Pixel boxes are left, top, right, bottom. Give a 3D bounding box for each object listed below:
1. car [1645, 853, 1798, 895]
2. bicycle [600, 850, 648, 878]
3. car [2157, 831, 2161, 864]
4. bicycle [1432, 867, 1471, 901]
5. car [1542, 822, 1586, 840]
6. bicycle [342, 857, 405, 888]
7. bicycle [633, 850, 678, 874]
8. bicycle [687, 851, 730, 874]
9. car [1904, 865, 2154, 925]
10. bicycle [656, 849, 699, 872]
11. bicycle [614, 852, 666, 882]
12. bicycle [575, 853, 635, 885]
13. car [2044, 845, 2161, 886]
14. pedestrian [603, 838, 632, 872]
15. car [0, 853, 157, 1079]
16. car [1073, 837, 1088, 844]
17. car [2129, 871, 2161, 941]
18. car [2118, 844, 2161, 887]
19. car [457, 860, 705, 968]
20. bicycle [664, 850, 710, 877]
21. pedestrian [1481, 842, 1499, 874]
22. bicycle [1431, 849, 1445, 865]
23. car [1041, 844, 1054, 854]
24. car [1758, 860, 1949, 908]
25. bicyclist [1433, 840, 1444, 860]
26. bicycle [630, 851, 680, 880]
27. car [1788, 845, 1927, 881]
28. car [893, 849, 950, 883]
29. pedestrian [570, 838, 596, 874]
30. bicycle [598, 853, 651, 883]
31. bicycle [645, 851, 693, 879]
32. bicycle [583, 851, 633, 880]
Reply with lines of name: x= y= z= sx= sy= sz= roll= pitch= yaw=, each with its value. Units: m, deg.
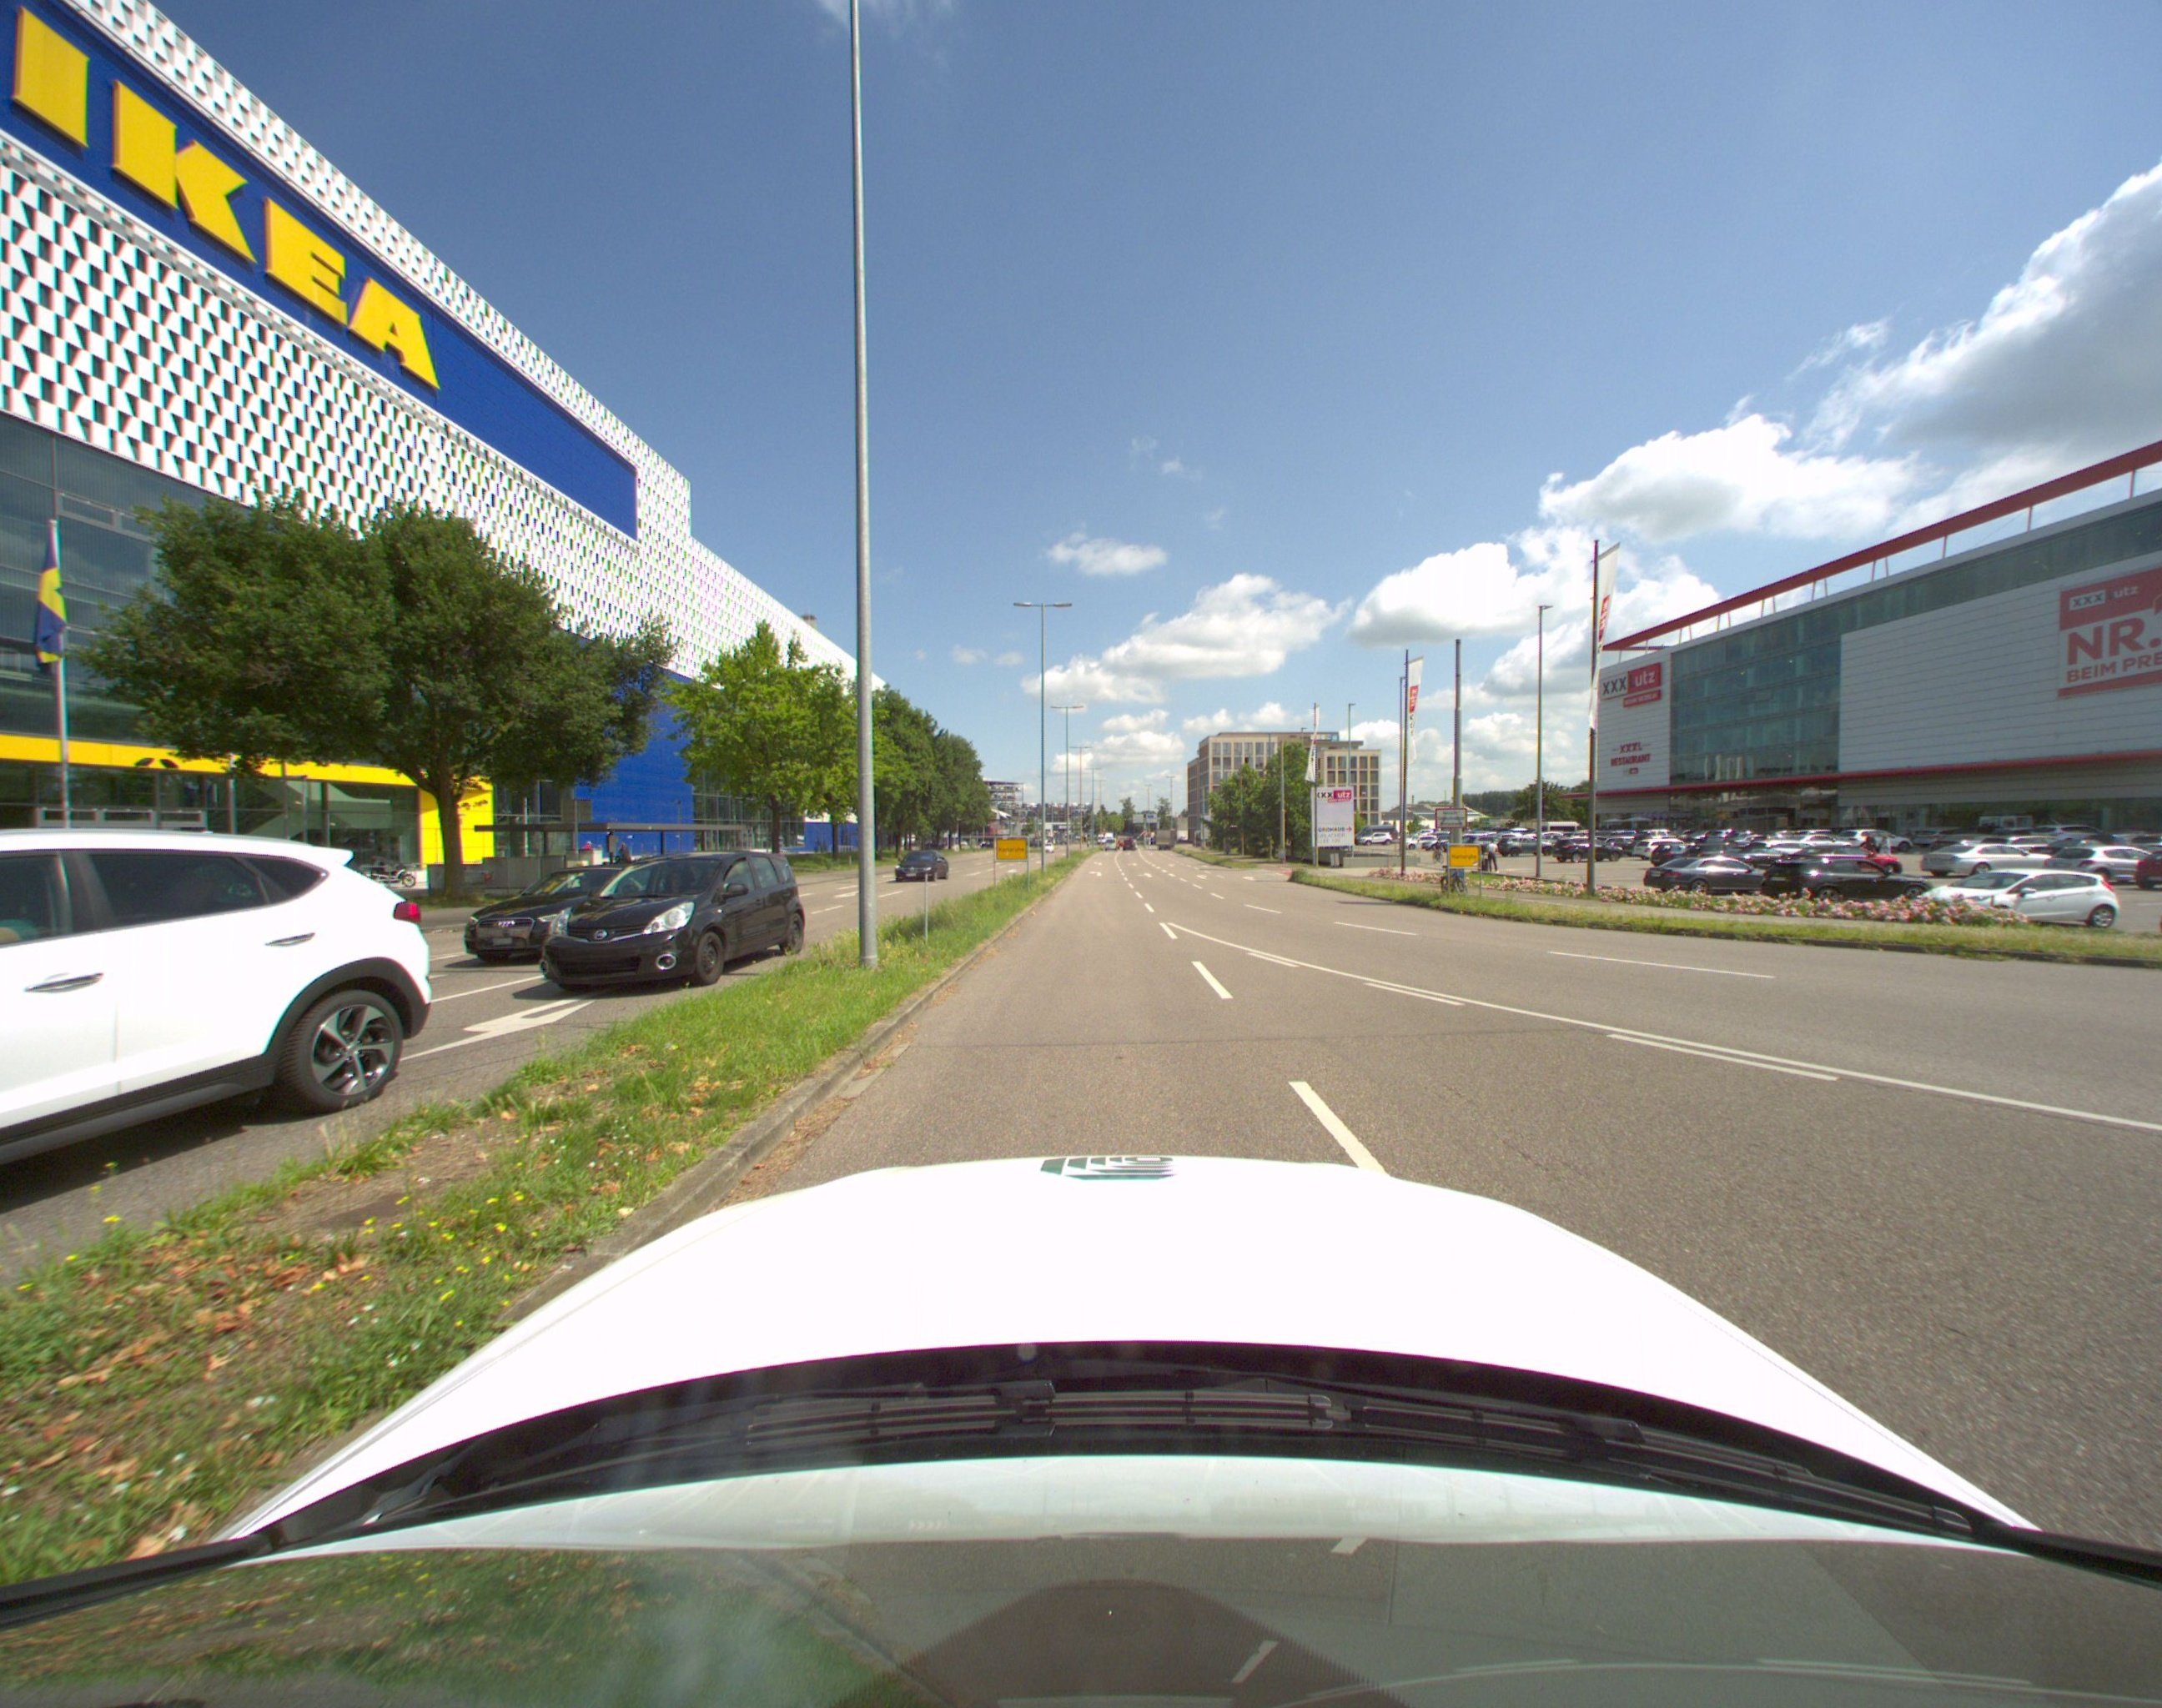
car: x=24.467 y=0.756 z=31.223 sx=4.340 sy=1.476 sz=1.858 roll=-1 pitch=0 yaw=3
bicycle: x=-21.442 y=0.485 z=38.235 sx=1.918 sy=1.272 sz=0.630 roll=0 pitch=1 yaw=1
car: x=50.442 y=-0.256 z=35.775 sx=3.971 sy=1.451 sz=1.670 roll=0 pitch=2 yaw=2
bicycle: x=11.207 y=0.885 z=24.663 sx=0.515 sy=0.952 sz=1.544 roll=0 pitch=0 yaw=1
car: x=55.954 y=-2.661 z=94.354 sx=3.972 sy=1.951 sz=2.001 roll=0 pitch=2 yaw=1
bicycle: x=-27.580 y=0.710 z=31.752 sx=1.929 sy=1.209 sz=0.528 roll=0 pitch=0 yaw=-3
bicycle: x=-21.402 y=0.388 z=41.016 sx=1.918 sy=1.179 sz=0.630 roll=0 pitch=2 yaw=1
bicycle: x=-19.231 y=0.436 z=42.098 sx=1.918 sy=1.183 sz=0.630 roll=0 pitch=2 yaw=1
car: x=24.523 y=1.024 z=21.188 sx=4.342 sy=1.439 sz=1.797 roll=0 pitch=1 yaw=2
bicycle: x=-21.294 y=0.338 z=42.970 sx=1.918 sy=1.183 sz=0.630 roll=0 pitch=2 yaw=1
bicycle: x=-19.527 y=0.564 z=36.069 sx=1.918 sy=1.272 sz=0.630 roll=0 pitch=1 yaw=1
bicycle: x=-19.560 y=0.617 z=33.509 sx=2.082 sy=1.272 sz=0.630 roll=0 pitch=1 yaw=1
car: x=39.978 y=0.407 z=31.003 sx=4.340 sy=1.362 sz=1.849 roll=-2 pitch=2 yaw=3
pedestrian: x=-23.612 y=0.057 z=41.512 sx=0.946 sy=1.702 sz=0.887 roll=1 pitch=1 yaw=1
car: x=-8.674 y=0.831 z=4.816 sx=1.764 sy=1.615 sz=4.001 roll=-2 pitch=-1 yaw=1
car: x=-0.158 y=-3.737 z=228.413 sx=3.978 sy=1.925 sz=1.825 roll=0 pitch=1 yaw=-3
car: x=24.335 y=1.071 z=16.534 sx=3.974 sy=1.418 sz=1.715 roll=0 pitch=0 yaw=-1
car: x=39.786 y=0.376 z=28.555 sx=4.340 sy=1.427 sz=1.849 roll=-2 pitch=2 yaw=3
car: x=-7.942 y=0.850 z=13.448 sx=1.406 sy=1.391 sz=4.098 roll=-2 pitch=0 yaw=2
bicycle: x=-19.179 y=0.451 z=39.678 sx=1.918 sy=1.272 sz=0.630 roll=0 pitch=1 yaw=1
pedestrian: x=23.328 y=0.221 z=46.447 sx=0.861 sy=1.782 sz=0.789 roll=1 pitch=2 yaw=32
bicycle: x=25.774 y=0.190 z=58.750 sx=0.618 sy=1.067 sz=1.976 roll=-1 pitch=1 yaw=14
car: x=-4.869 y=-0.765 z=119.883 sx=1.637 sy=1.428 sz=3.671 roll=-2 pitch=1 yaw=1
car: x=24.716 y=0.937 z=26.176 sx=4.342 sy=1.416 sz=1.858 roll=0 pitch=1 yaw=2
bicyclist: x=25.758 y=-0.266 z=58.703 sx=0.611 sy=1.412 sz=0.717 roll=0 pitch=1 yaw=13
bicycle: x=-19.466 y=0.517 z=37.218 sx=1.918 sy=1.272 sz=0.630 roll=0 pitch=1 yaw=1
car: x=34.297 y=0.387 z=36.069 sx=4.340 sy=1.362 sz=1.849 roll=-2 pitch=2 yaw=3
car: x=-7.546 y=0.529 z=38.932 sx=1.658 sy=1.421 sz=4.520 roll=-2 pitch=0 yaw=1
pedestrian: x=-25.359 y=0.079 z=41.492 sx=0.751 sy=1.822 sz=0.887 roll=1 pitch=1 yaw=1
bicycle: x=-19.474 y=0.589 z=34.764 sx=1.918 sy=1.272 sz=0.630 roll=0 pitch=1 yaw=1
bicycle: x=-19.374 y=0.495 z=38.288 sx=1.918 sy=1.272 sz=0.630 roll=0 pitch=1 yaw=1
bicycle: x=-21.608 y=0.505 z=37.228 sx=1.918 sy=1.272 sz=0.630 roll=0 pitch=1 yaw=1
